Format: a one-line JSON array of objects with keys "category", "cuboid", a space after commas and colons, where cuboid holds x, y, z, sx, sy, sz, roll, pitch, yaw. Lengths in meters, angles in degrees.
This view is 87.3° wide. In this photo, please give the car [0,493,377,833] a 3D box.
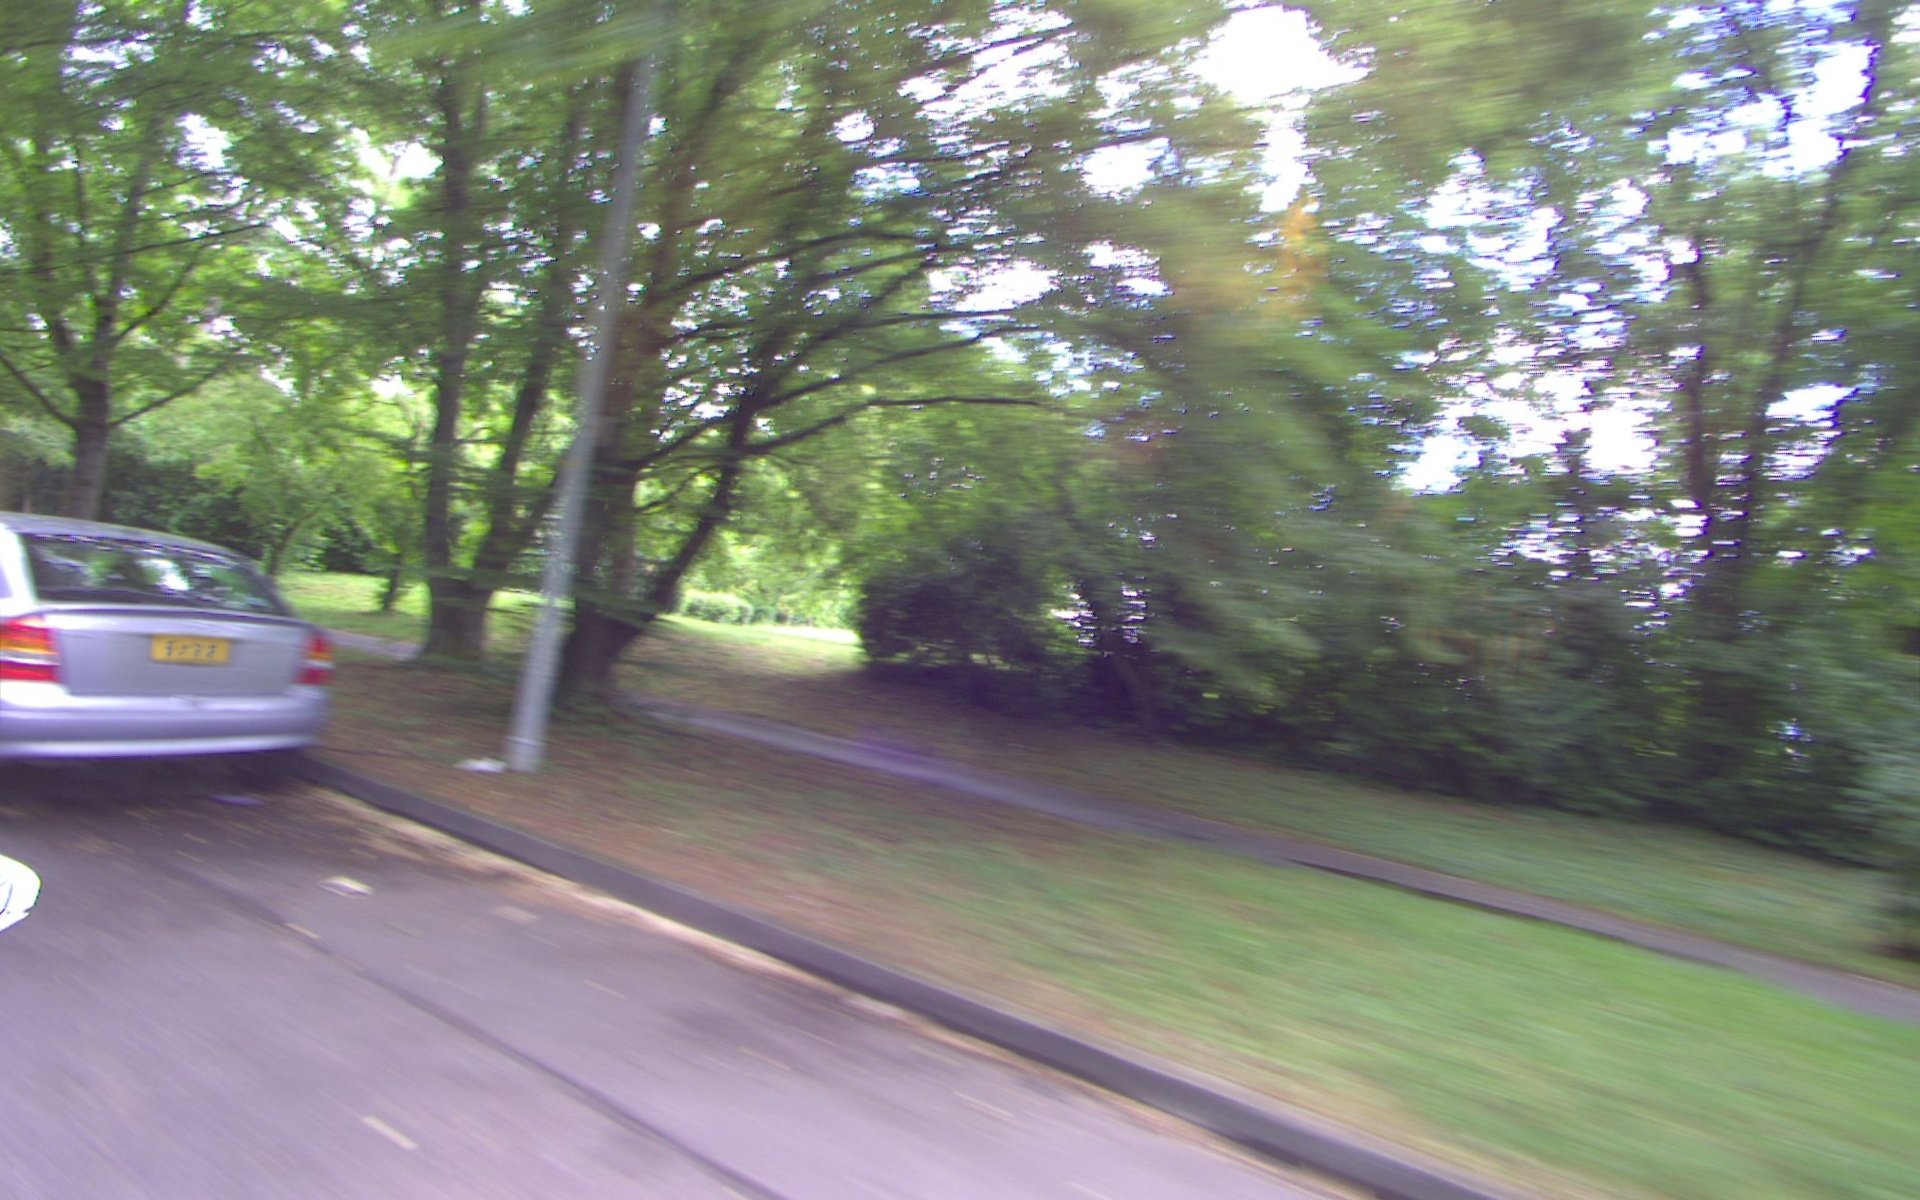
[{"category": "car", "cuboid": [-5.524, 0.141, 5.948, 3.880, 1.448, 1.721, 8, -1, 29]}]
